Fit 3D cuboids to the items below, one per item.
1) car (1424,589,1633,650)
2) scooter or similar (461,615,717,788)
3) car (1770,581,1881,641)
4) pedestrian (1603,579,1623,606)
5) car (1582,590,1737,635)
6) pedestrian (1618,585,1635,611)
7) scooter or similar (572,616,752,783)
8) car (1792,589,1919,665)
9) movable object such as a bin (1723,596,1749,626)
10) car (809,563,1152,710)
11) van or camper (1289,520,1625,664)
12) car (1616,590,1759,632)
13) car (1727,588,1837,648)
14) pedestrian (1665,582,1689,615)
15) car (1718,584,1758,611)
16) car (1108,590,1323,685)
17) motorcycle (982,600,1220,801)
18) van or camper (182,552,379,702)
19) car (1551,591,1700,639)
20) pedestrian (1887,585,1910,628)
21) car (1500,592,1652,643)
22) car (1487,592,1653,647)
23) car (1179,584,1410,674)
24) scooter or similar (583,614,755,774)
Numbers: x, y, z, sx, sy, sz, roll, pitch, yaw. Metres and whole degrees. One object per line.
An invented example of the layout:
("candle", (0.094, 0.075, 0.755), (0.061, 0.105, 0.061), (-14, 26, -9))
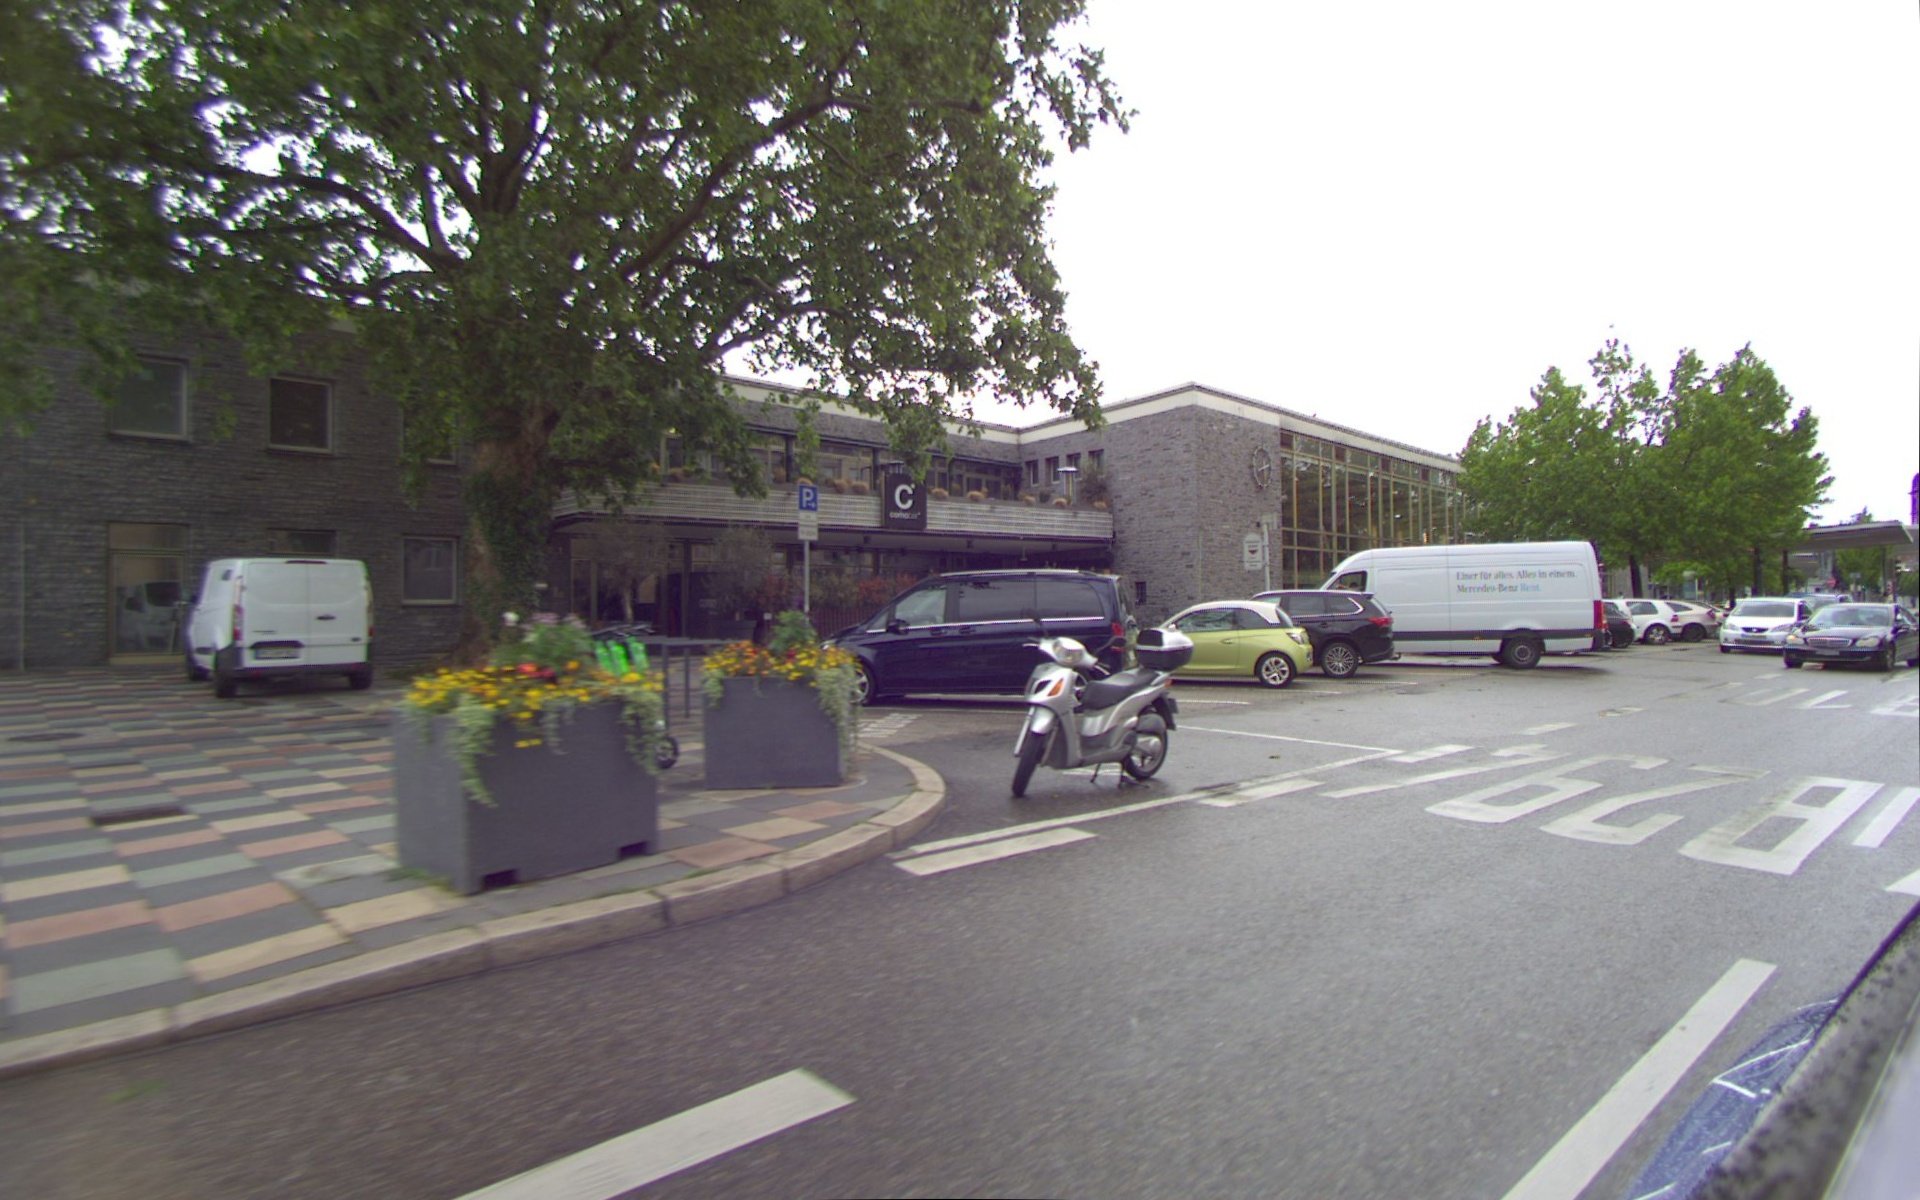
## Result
("car", (14.578, 0.458, 26.233), (4.413, 1.489, 1.908), (0, 0, 19))
("scooter or similar", (-2.957, 0.744, 8.113), (1.638, 1.170, 1.066), (-1, -1, -41))
("car", (26.174, 0.285, 30.560), (4.337, 1.703, 1.823), (0, 1, -39))
("pedestrian", (37.472, -0.442, 58.042), (0.838, 1.530, 0.761), (0, 0, -42))
("car", (23.138, 0.396, 33.633), (3.882, 1.417, 1.768), (0, 0, 20))
("pedestrian", (42.676, -0.131, 64.786), (0.838, 1.669, 0.761), (0, 0, -42))
("scooter or similar", (-2.180, 0.711, 7.498), (1.237, 1.170, 0.415), (-1, -2, -10))
("car", (19.489, 0.510, 21.711), (3.757, 1.493, 1.871), (0, 1, -39))
("movable object such as a bin", (29.608, 0.412, 38.607), (0.686, 1.121, 0.542), (-4, -2, 34))
("car", (0.349, 0.447, 14.756), (4.635, 1.898, 2.098), (0, 0, 17))
("van or camper", (10.745, -0.190, 22.596), (6.446, 2.905, 2.266), (0, 0, 19))
("car", (25.773, 0.359, 36.033), (3.893, 1.417, 1.762), (0, 0, 28))
("car", (21.942, 0.427, 26.965), (3.525, 1.493, 1.660), (0, 1, -40))
("pedestrian", (38.966, -0.092, 55.019), (0.896, 1.780, 0.824), (0, 0, -37))
("car", (48.912, -0.144, 63.639), (1.811, 1.576, 4.403), (-5, -3, 38))
("car", (4.589, 0.601, 18.142), (3.550, 1.543, 1.749), (0, 0, 23))
("motorcycle", (1.153, 0.694, 7.900), (2.072, 1.369, 0.644), (0, 0, -41))
("van or camper", (-10.745, 0.333, 15.865), (1.987, 2.015, 4.284), (0, 1, -42))
("car", (20.834, 0.434, 31.837), (3.575, 1.417, 1.768), (0, 0, 20))
("pedestrian", (39.550, 0.275, 42.652), (0.686, 1.773, 0.561), (0, 1, -37))
("car", (18.324, 0.483, 30.267), (3.575, 1.417, 1.768), (0, 0, 20))
("car", (16.828, 0.508, 28.105), (3.643, 1.417, 1.768), (0, 0, 20))
("car", (6.607, 0.514, 20.211), (4.183, 1.655, 1.872), (0, 0, 20))
("scooter or similar", (-2.259, 0.717, 7.938), (1.237, 1.170, 0.415), (-1, -2, -10))
